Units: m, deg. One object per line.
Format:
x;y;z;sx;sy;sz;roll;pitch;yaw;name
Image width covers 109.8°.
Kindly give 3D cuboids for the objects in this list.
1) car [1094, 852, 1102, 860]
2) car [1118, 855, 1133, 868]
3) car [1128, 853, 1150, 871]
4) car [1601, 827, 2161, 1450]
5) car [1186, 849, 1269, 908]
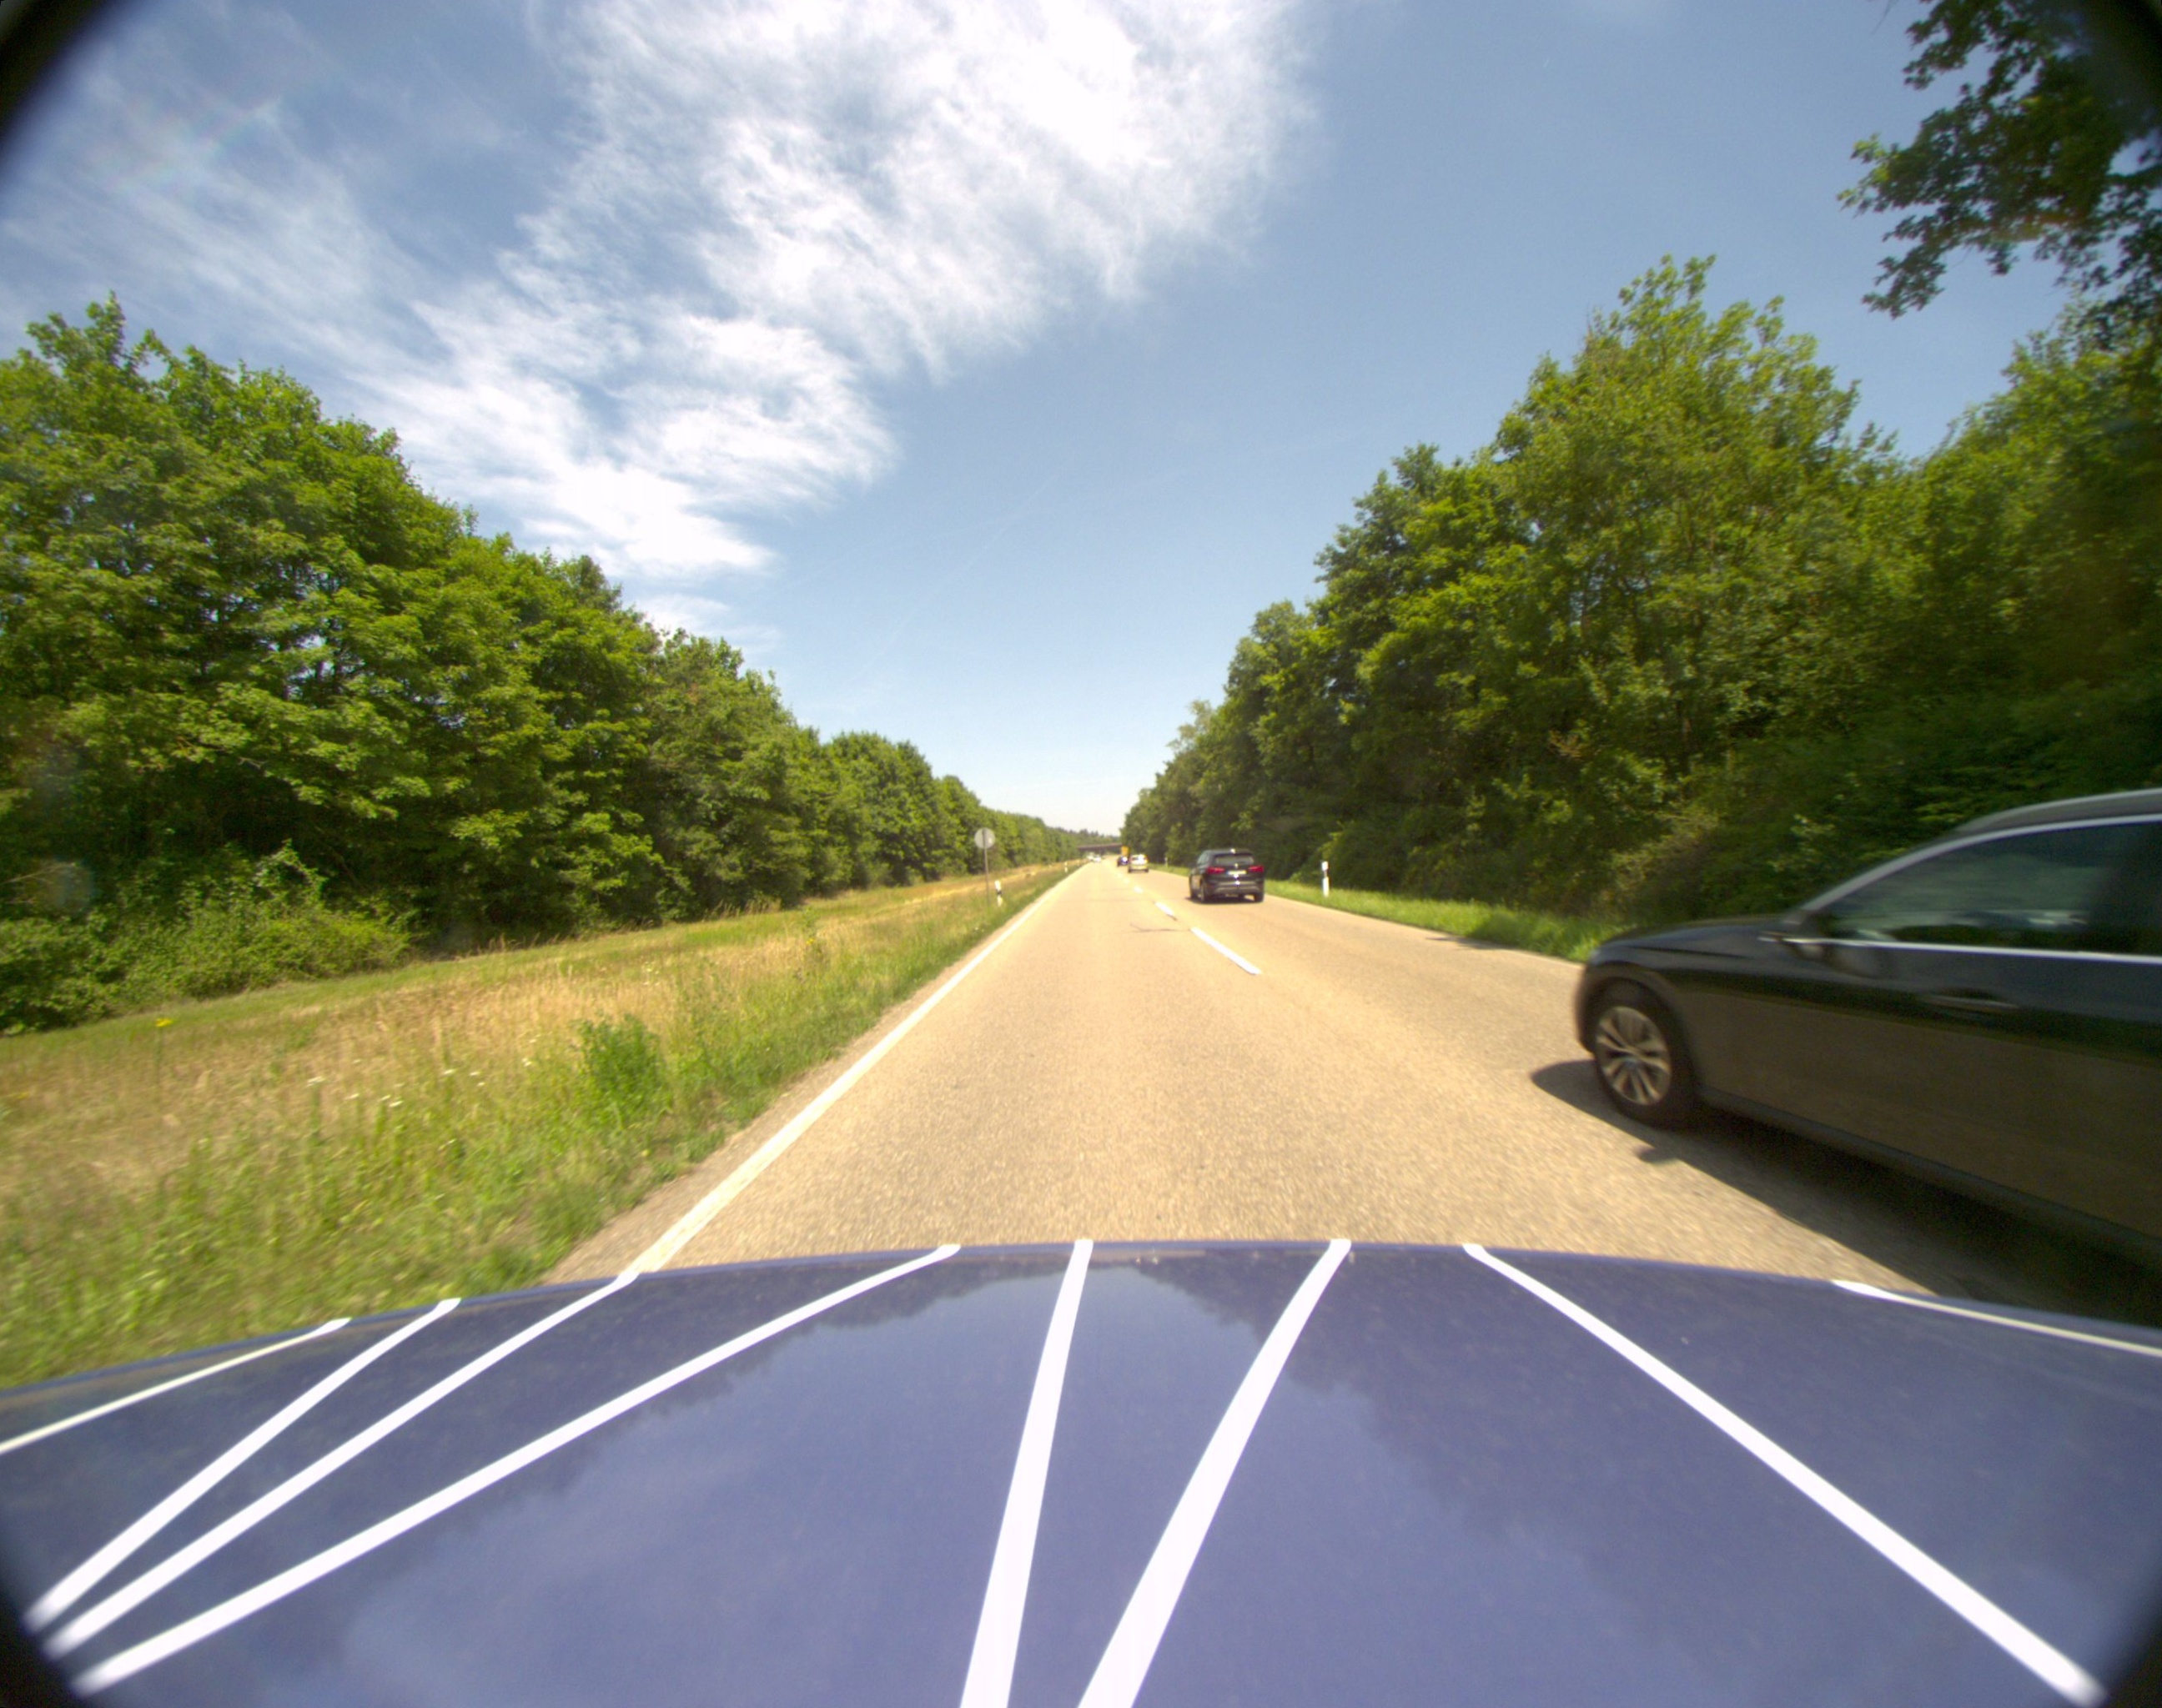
4.191;0.433;188.875;1.865;1.747;4.000;-4;0;0;car
6.058;0.983;103.793;1.891;1.651;3.705;-2;0;1;car
4.965;0.671;65.108;1.670;1.487;3.684;-2;0;2;car
3.734;0.722;1.966;1.870;1.615;4.200;-2;0;0;car
4.450;0.675;23.665;1.756;1.595;4.440;-2;0;1;car
